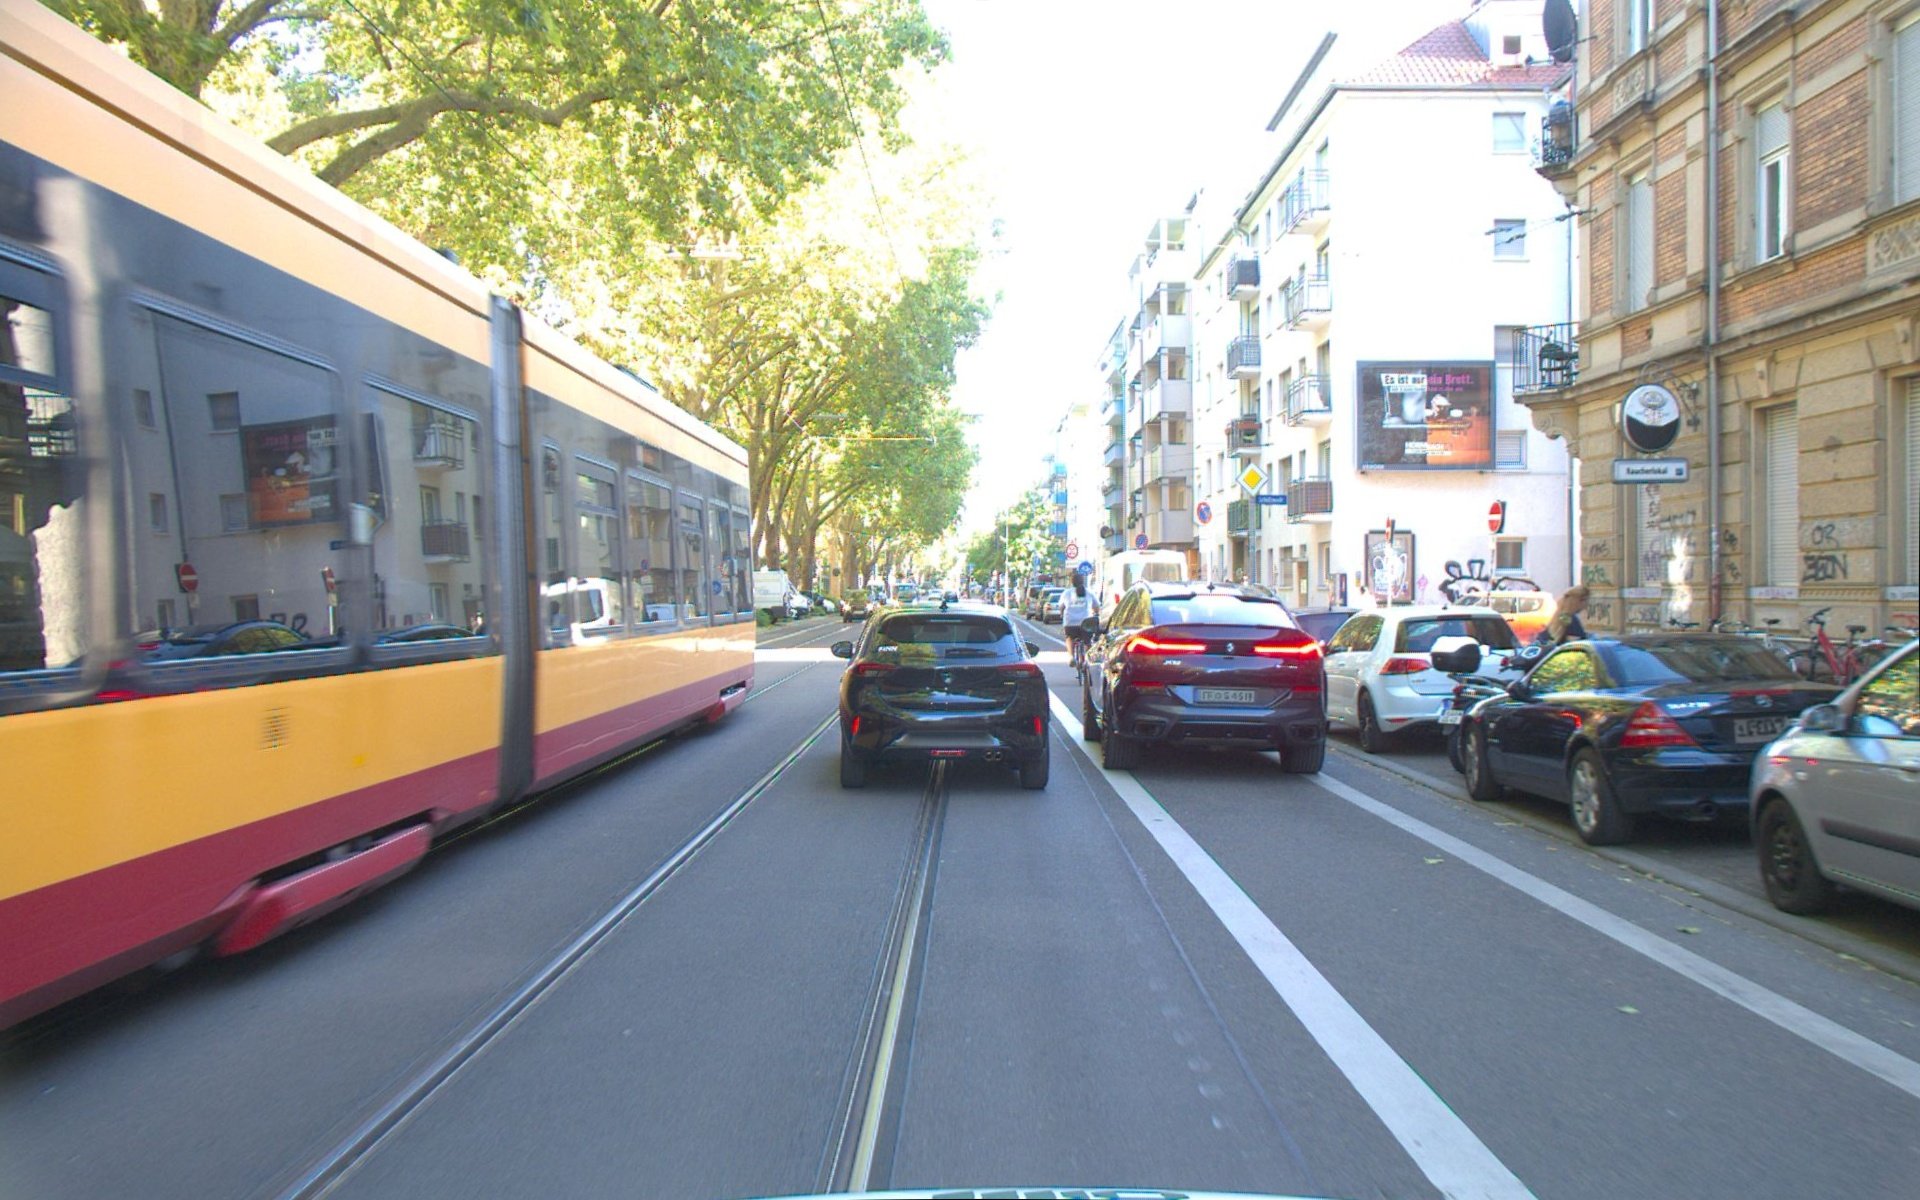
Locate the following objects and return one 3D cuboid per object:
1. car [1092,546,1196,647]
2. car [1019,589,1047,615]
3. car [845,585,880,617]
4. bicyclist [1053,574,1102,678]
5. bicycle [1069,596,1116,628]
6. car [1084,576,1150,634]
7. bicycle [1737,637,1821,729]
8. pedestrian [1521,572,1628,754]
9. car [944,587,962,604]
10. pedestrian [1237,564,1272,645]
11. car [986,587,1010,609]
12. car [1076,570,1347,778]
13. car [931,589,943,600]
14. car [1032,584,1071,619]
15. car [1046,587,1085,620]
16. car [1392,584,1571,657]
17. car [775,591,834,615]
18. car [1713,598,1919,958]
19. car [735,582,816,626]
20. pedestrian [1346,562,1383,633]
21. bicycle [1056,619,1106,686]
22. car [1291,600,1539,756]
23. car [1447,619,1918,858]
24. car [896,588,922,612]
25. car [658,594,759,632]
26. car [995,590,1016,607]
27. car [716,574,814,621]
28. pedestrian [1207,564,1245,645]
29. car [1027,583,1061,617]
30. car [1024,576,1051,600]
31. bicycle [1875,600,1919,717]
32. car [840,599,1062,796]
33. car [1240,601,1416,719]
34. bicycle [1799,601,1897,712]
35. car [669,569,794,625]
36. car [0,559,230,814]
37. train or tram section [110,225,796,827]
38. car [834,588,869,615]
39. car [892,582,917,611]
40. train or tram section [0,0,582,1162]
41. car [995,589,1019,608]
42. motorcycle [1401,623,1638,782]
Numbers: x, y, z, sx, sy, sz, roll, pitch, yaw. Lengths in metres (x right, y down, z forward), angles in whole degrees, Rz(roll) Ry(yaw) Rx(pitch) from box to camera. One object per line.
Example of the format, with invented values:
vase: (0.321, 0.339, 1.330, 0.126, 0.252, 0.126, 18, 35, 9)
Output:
car: (4.897, -0.094, 44.892, 2.105, 2.539, 6.087, 0, 0, 0)
car: (4.976, 0.106, 112.526, 1.820, 1.680, 4.001, -1, 0, 1)
car: (-4.784, 0.051, 81.158, 1.602, 1.536, 3.690, 0, 0, -2)
bicyclist: (2.050, 0.441, 28.981, 0.770, 1.790, 0.914, 0, 0, -1)
bicycle: (5.288, 0.472, 65.939, 1.757, 1.168, 0.704, -3, 0, 0)
car: (5.206, 0.164, 55.302, 1.820, 1.852, 4.351, 0, 0, 1)
bicycle: (9.859, 0.982, 19.947, 0.370, 1.018, 1.373, -1, 0, 2)
pedestrian: (5.828, 0.585, 15.711, 0.748, 1.686, 0.717, 0, 0, 0)
car: (-0.717, -0.452, 172.663, 1.714, 1.680, 4.001, -1, 0, 2)
pedestrian: (6.930, 0.111, 38.984, 0.612, 1.854, 1.082, -2, -1, 2)
car: (2.940, -0.183, 127.767, 1.820, 1.680, 4.001, -1, 0, 1)
car: (2.272, 0.620, 16.190, 1.904, 1.734, 4.629, 0, 0, -1)
car: (-3.182, -0.749, 231.810, 1.645, 1.447, 3.627, 1, 0, -1)
car: (4.796, 0.064, 86.748, 1.731, 1.734, 4.282, -1, 0, -1)
car: (5.073, 0.157, 80.156, 1.689, 1.552, 4.513, -1, 0, 2)
car: (11.737, 0.457, 37.412, 3.573, 1.601, 1.791, 0, 0, 5)
car: (-10.610, 0.211, 113.050, 3.906, 1.548, 1.771, -1, 0, -2)
car: (4.841, 0.747, 7.061, 1.573, 1.477, 3.742, -3, 0, 1)
car: (-11.345, 0.211, 101.945, 4.845, 2.612, 2.081, -1, 0, -3)
pedestrian: (9.336, -0.045, 38.205, 0.619, 1.608, 0.933, 1, 0, 2)
bicycle: (2.113, 0.896, 29.078, 0.686, 1.111, 1.990, 1, 0, 0)
car: (4.840, 0.760, 18.146, 1.569, 1.445, 4.013, -3, 0, 0)
car: (4.811, 0.837, 11.618, 1.615, 1.294, 3.724, -3, 0, 0)
car: (-3.378, 0.008, 110.427, 1.683, 1.536, 3.722, -1, 0, -2)
car: (-10.476, 0.519, 69.145, 3.905, 1.522, 1.830, -1, 0, 0)
car: (4.122, -0.163, 150.814, 1.683, 1.516, 3.680, -1, 0, -2)
car: (-10.961, -0.136, 93.135, 5.250, 2.521, 2.057, -1, 0, 0)
pedestrian: (6.277, 0.101, 39.003, 0.695, 1.854, 1.082, -2, -1, 2)
car: (4.808, -0.024, 95.339, 1.820, 1.923, 4.925, -1, 0, 2)
car: (5.603, -0.893, 120.184, 1.820, 1.680, 4.001, -1, 0, 1)
bicycle: (9.844, 0.588, 17.002, 0.267, 1.174, 1.139, -1, 0, 2)
car: (-0.082, 0.735, 14.238, 1.645, 1.447, 3.627, 1, 0, -1)
car: (5.103, 0.774, 23.424, 1.615, 1.445, 4.060, -3, 0, 1)
bicycle: (9.805, 0.600, 18.298, 0.370, 1.174, 1.373, -1, 0, 2)
car: (-10.828, -0.150, 78.549, 5.623, 2.580, 2.162, 0, 1, 0)
car: (-11.247, 0.776, 17.081, 6.466, 2.449, 2.000, 1, 1, 0)
train or tram section: (-3.699, -0.442, 15.815, 2.876, 3.682, 11.064, 1, 0, 1)
car: (-7.211, 0.073, 110.405, 1.953, 1.729, 4.484, -2, 0, 0)
car: (-4.362, -0.299, 130.055, 1.878, 2.266, 4.958, 0, 0, -2)
train or tram section: (-3.927, -0.388, 4.603, 2.876, 3.682, 11.260, 1, 0, 1)
car: (4.075, -0.166, 144.049, 1.684, 1.601, 4.081, -1, 0, -4)
motorcycle: (4.991, 0.877, 14.733, 2.104, 1.311, 0.639, 0, 0, -22)
